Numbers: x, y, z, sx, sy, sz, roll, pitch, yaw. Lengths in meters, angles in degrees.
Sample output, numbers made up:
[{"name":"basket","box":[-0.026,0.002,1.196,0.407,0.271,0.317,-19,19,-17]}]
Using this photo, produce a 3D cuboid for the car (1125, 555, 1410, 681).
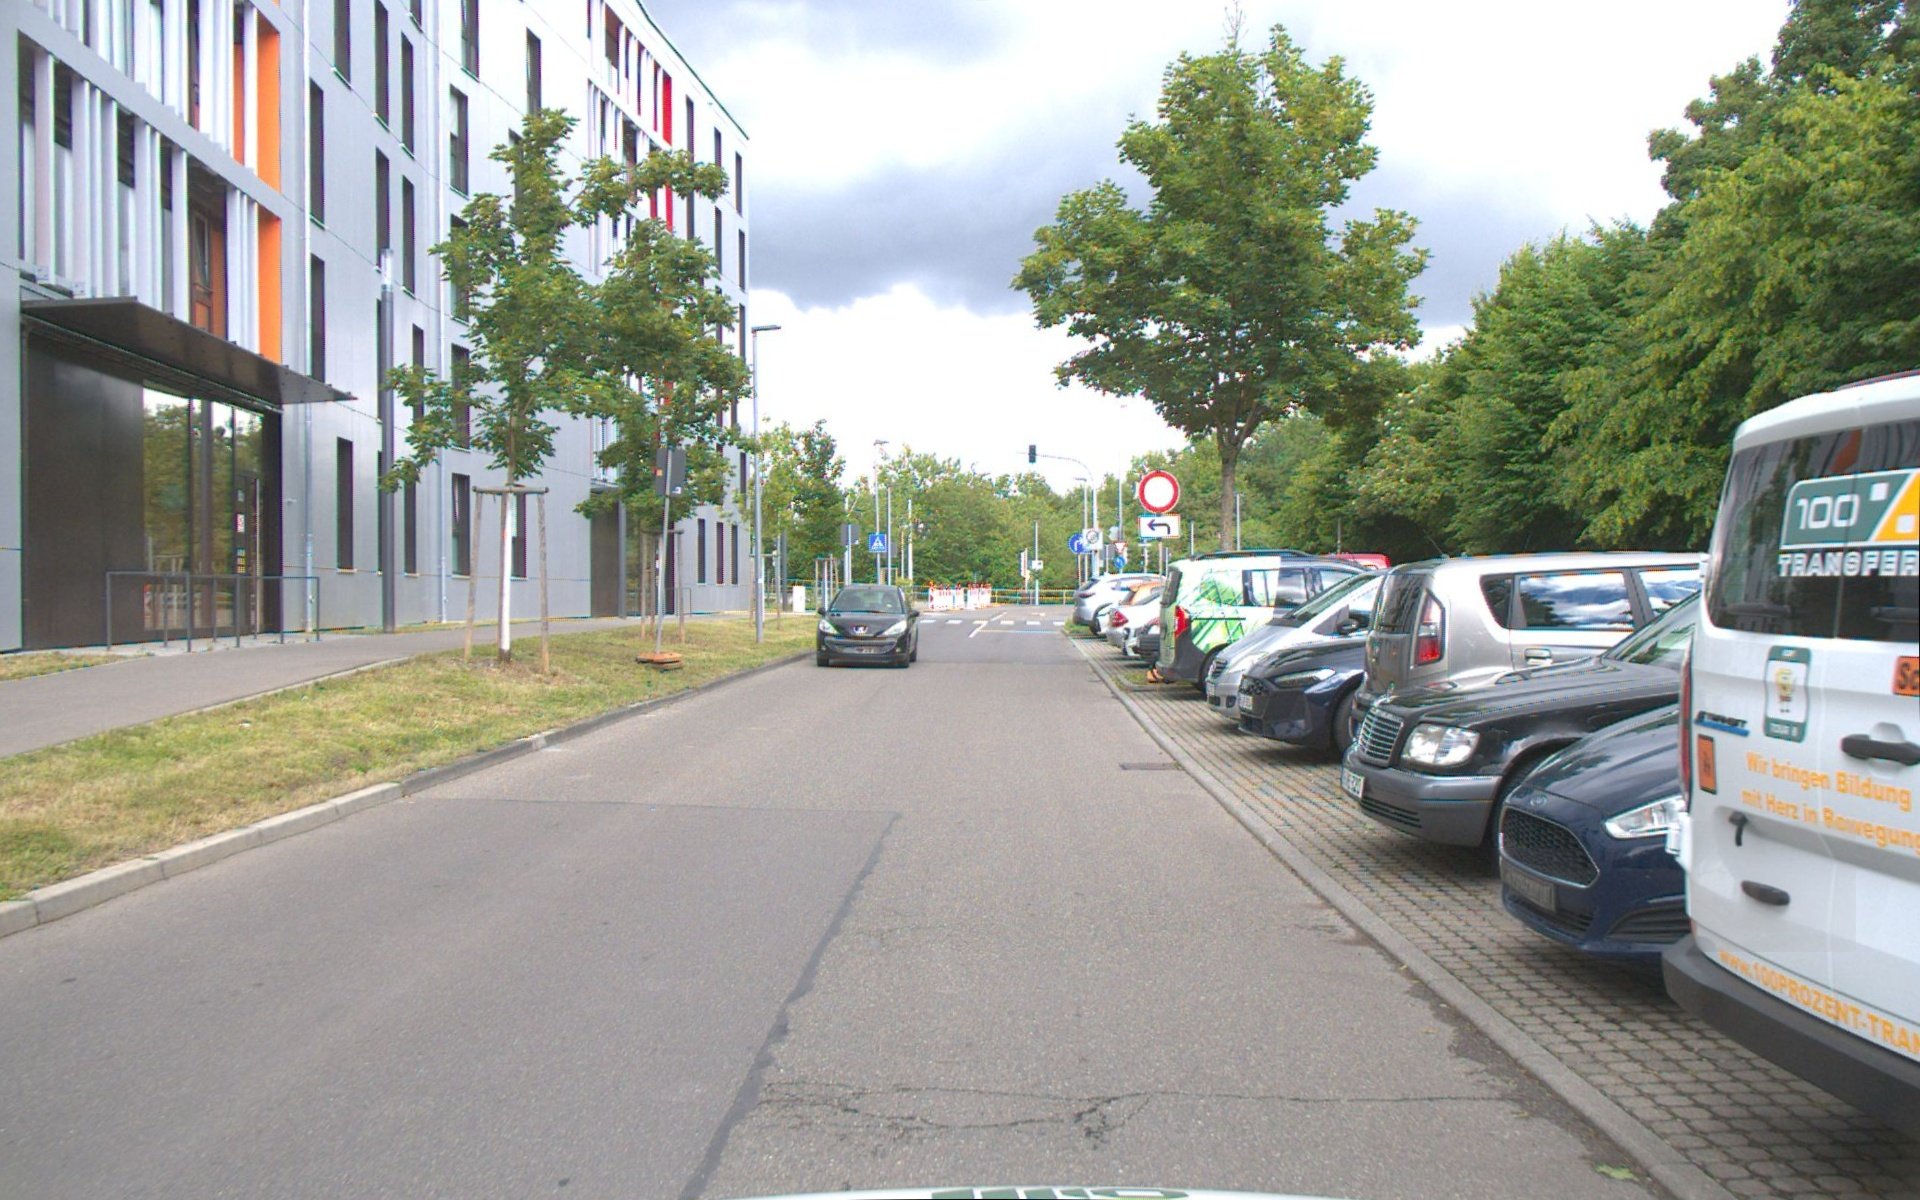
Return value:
[{"name":"car","box":[4.956,0.276,27.094,4.289,1.937,1.936,1,1,0]}]

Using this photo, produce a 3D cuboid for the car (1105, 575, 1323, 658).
[{"name":"car","box":[5.297,0.324,34.840,4.289,1.646,1.916,1,1,0]}]

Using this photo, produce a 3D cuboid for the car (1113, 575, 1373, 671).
[{"name":"car","box":[4.973,0.393,29.495,4.289,1.601,1.916,1,0,0]}]

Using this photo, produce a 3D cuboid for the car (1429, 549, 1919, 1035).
[{"name":"car","box":[4.368,0.559,6.317,4.607,1.543,1.847,-2,1,0]}]

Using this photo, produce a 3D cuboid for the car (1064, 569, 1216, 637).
[{"name":"car","box":[5.281,0.074,48.939,4.289,1.936,1.916,1,1,0]}]

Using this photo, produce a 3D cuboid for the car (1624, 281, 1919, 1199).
[{"name":"car","box":[4.339,0.286,3.811,4.874,2.006,1.845,-2,1,-4]}]

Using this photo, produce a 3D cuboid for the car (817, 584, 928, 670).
[{"name":"car","box":[-1.521,0.435,30.103,1.575,1.412,4.002,1,1,3]}]

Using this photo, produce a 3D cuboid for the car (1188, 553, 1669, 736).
[{"name":"car","box":[4.599,0.408,16.712,4.289,1.604,1.916,-2,1,0]}]

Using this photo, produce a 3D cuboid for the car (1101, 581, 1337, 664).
[{"name":"car","box":[4.957,0.418,32.104,4.289,1.500,1.916,1,1,0]}]

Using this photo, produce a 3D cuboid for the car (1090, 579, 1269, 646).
[{"name":"car","box":[5.541,0.302,42.150,4.289,1.610,1.916,1,1,0]}]

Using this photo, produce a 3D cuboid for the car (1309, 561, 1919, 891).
[{"name":"car","box":[4.389,0.558,8.805,4.626,1.459,2.057,-2,1,1]}]

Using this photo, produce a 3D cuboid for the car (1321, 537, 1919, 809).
[{"name":"car","box":[4.734,0.443,11.560,3.982,1.637,1.892,-2,1,0]}]

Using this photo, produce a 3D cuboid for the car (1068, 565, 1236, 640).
[{"name":"car","box":[5.129,0.049,44.580,4.289,1.936,1.916,1,1,0]}]

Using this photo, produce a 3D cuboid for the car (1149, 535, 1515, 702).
[{"name":"car","box":[4.736,0.219,21.518,4.289,1.937,1.916,-2,1,0]}]

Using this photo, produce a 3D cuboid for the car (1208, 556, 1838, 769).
[{"name":"car","box":[4.632,0.472,14.125,4.631,1.525,2.110,-2,1,-3]}]
